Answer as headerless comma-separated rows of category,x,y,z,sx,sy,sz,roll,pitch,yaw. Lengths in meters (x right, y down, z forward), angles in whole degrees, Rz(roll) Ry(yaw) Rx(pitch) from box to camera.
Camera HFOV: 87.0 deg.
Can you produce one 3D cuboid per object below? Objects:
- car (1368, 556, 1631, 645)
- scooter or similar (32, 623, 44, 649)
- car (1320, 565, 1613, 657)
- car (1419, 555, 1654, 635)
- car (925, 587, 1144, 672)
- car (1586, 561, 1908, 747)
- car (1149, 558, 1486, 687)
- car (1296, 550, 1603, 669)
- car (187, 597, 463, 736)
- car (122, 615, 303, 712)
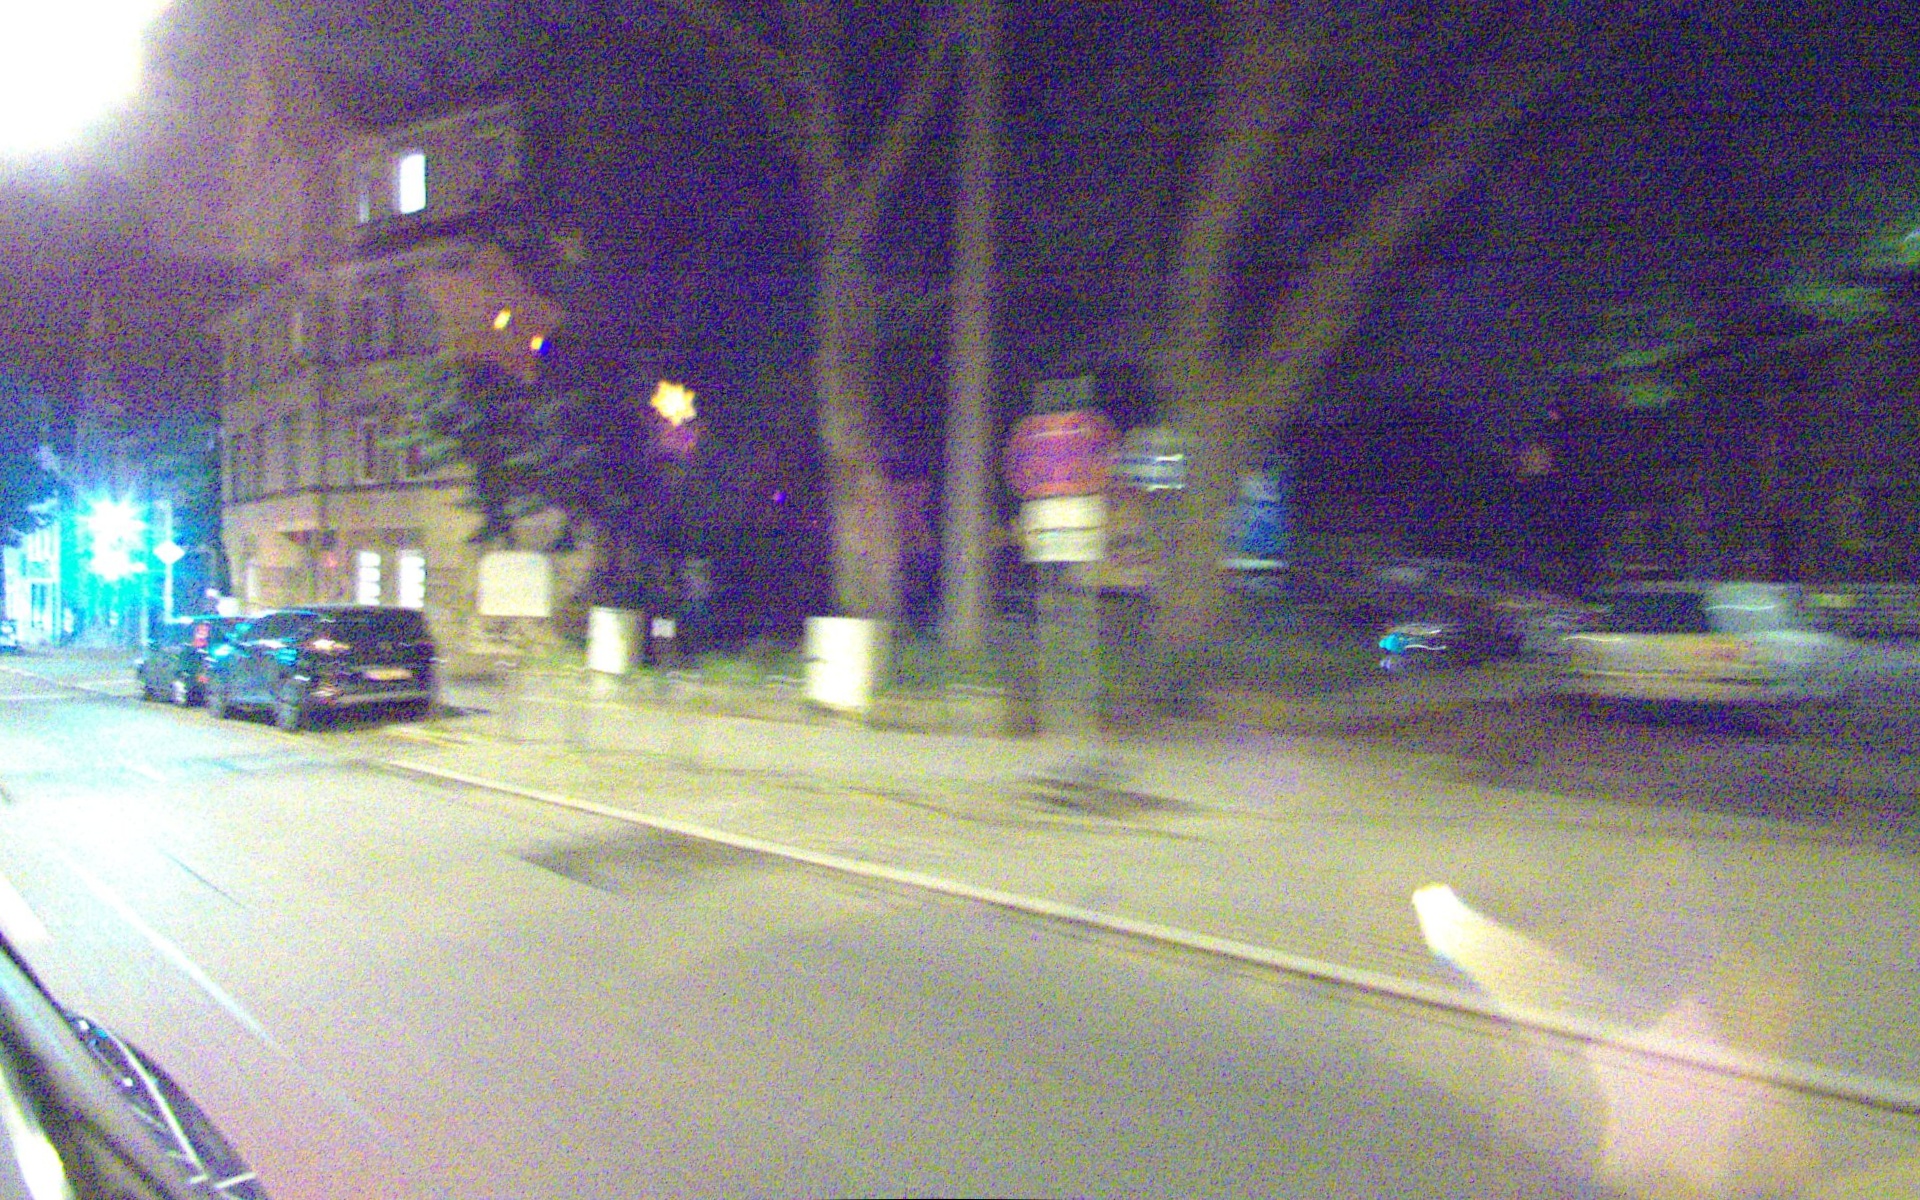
car,10.421,0.000,19.805,1.822,1.554,4.159,-1,0,-38
scooter or similar,-46.127,1.802,50.647,1.335,1.235,0.328,-1,0,43
car,8.793,0.173,17.883,1.652,1.428,4.334,-1,0,-40
car,12.331,-0.102,21.828,1.861,1.550,4.007,-1,0,-40
car,1.237,0.470,17.545,3.559,1.326,1.541,-1,0,39
car,8.106,0.404,10.306,3.937,1.435,1.765,-4,2,-40
car,4.997,0.264,14.450,4.184,1.549,1.739,-1,3,40
car,7.583,0.099,15.972,1.734,1.618,3.987,-3,2,-40
car,-9.181,0.869,14.479,4.664,1.663,1.831,-2,0,38
car,-13.349,1.045,18.023,3.696,1.526,1.632,-1,0,38
